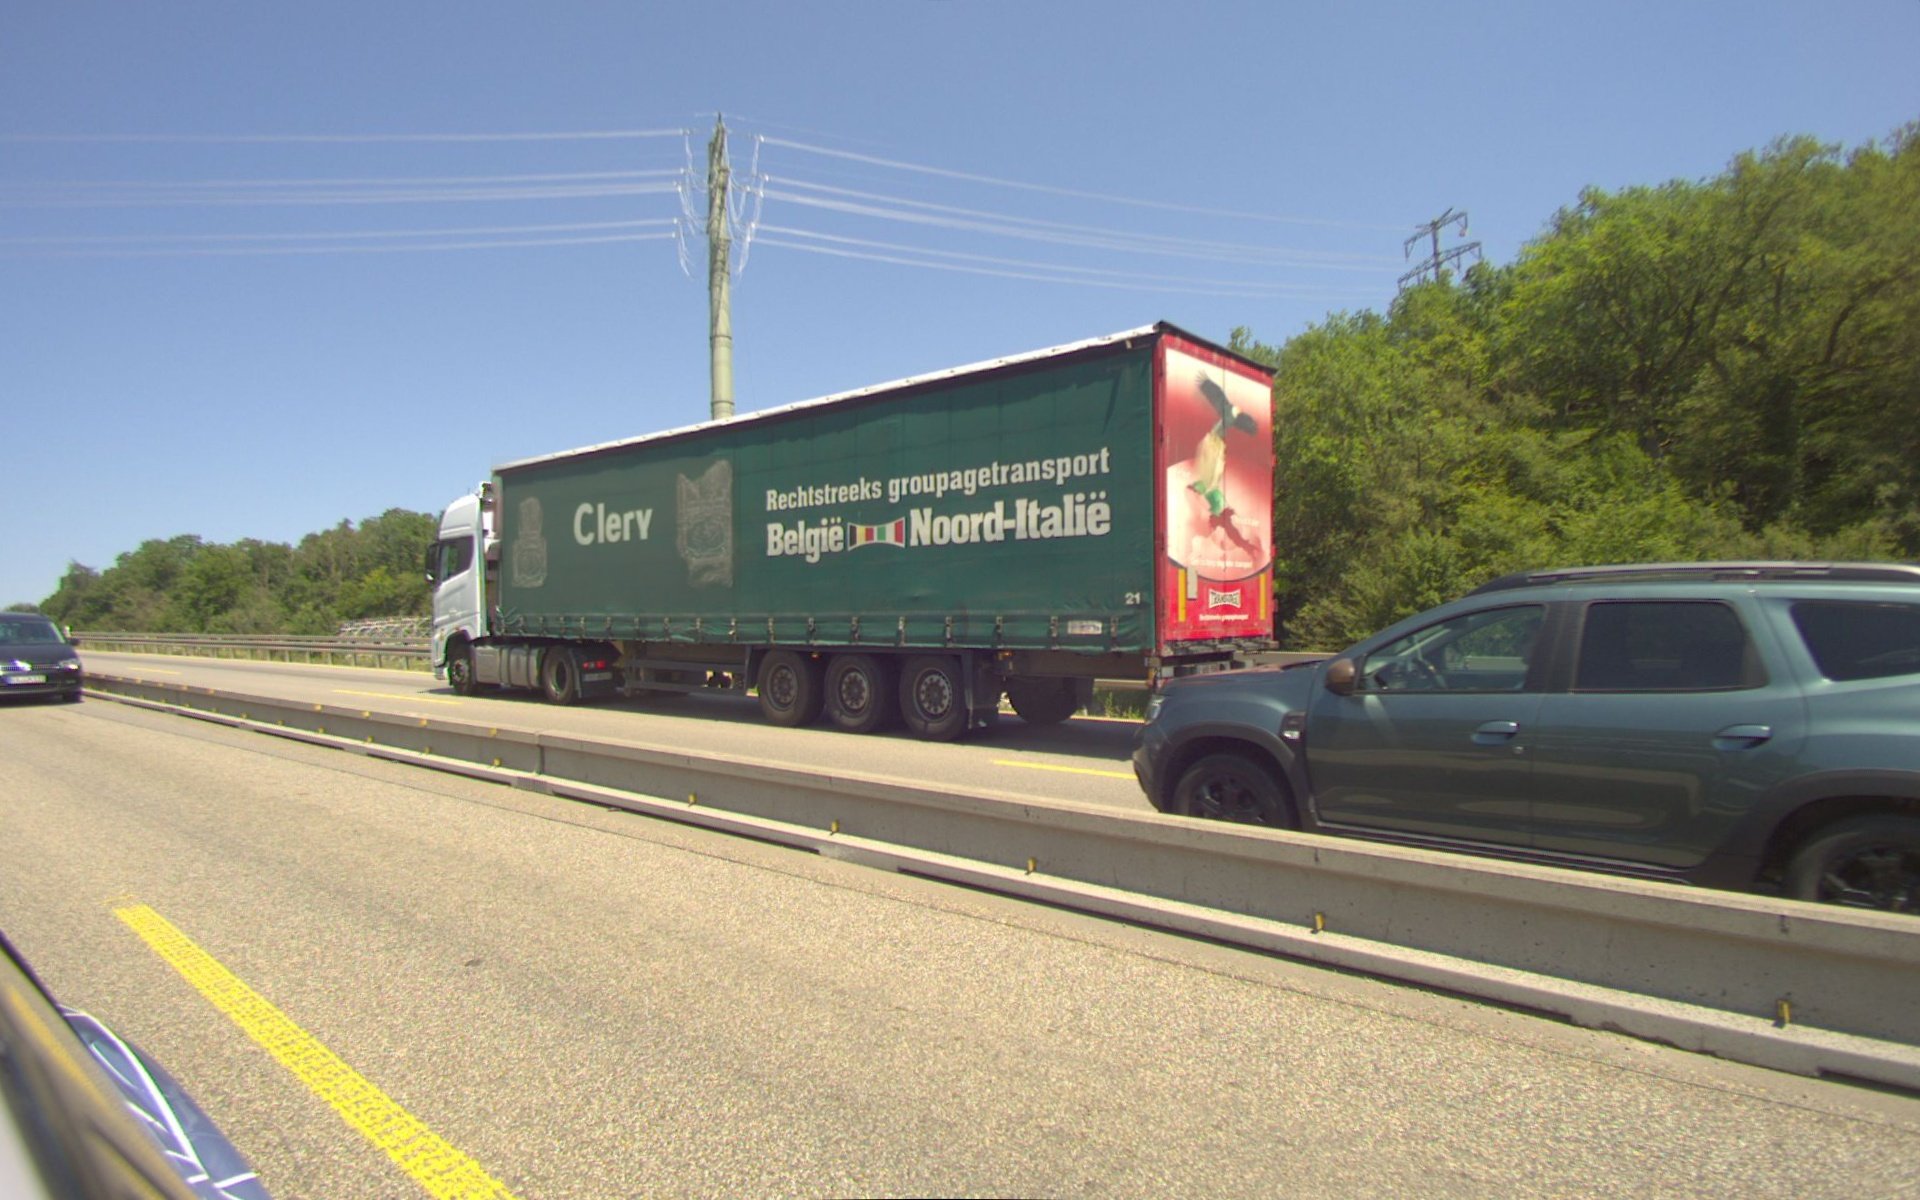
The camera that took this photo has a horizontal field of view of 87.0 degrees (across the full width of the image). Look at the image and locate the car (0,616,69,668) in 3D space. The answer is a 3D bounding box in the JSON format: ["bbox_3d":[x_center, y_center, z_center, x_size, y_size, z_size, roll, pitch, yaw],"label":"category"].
[{"bbox_3d":[-32.740,1.397,35.249,4.851,1.652,1.973,0,0,41],"label":"car"}]

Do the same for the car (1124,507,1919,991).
[{"bbox_3d":[3.103,0.550,5.091,4.113,1.694,1.936,-1,-1,42],"label":"car"}]

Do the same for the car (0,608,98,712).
[{"bbox_3d":[-17.811,1.082,18.829,5.299,1.719,1.838,-2,-2,40],"label":"car"}]

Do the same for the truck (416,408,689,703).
[{"bbox_3d":[-7.815,-0.725,19.309,4.641,4.858,3.030,0,0,40],"label":"truck"}]

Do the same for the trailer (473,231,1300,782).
[{"bbox_3d":[-2.490,-0.787,14.683,13.995,4.852,3.032,0,0,41],"label":"trailer"}]
